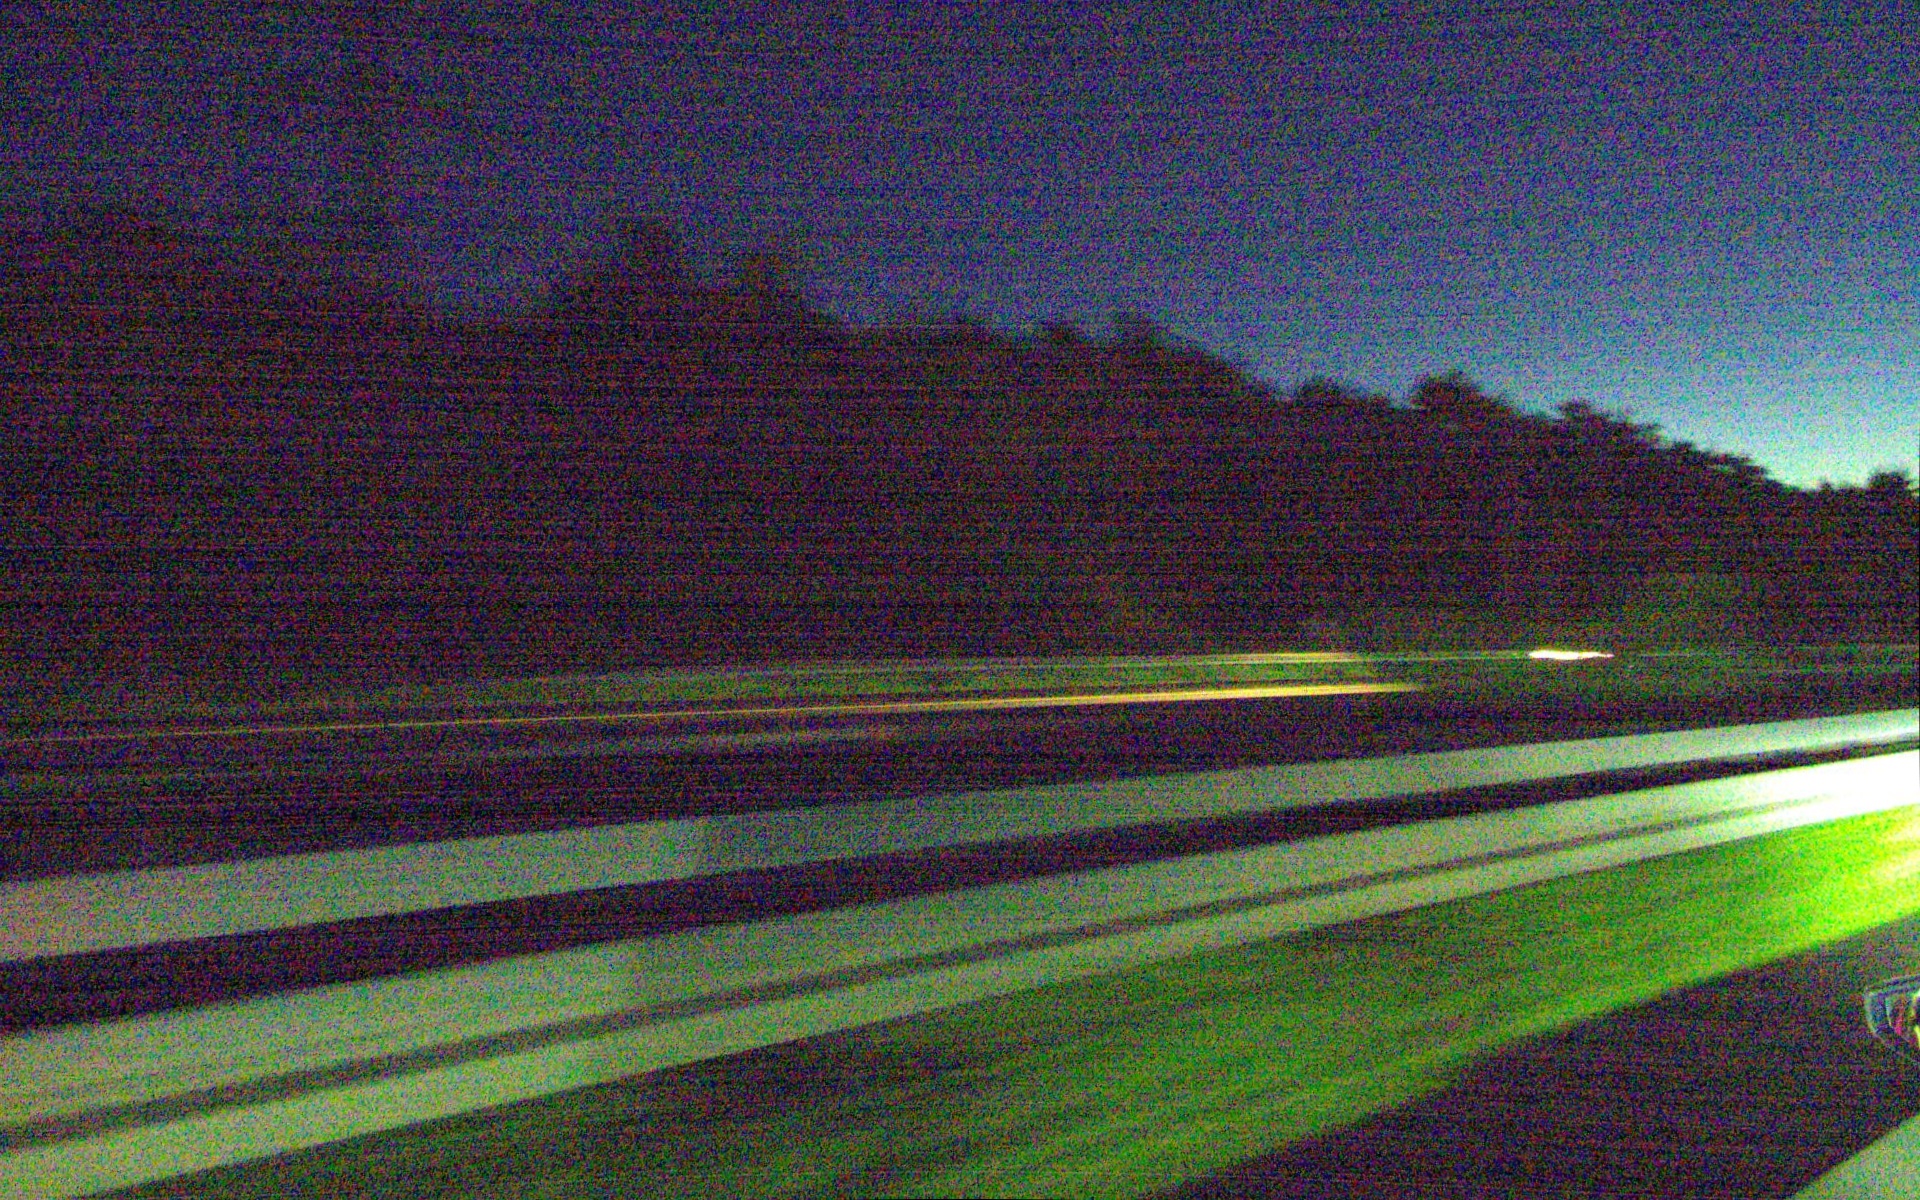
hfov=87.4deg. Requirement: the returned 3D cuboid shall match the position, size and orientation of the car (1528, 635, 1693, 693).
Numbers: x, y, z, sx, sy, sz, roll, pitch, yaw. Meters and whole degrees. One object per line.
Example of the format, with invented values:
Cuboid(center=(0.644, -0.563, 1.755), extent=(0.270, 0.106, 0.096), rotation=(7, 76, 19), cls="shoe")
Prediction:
Cuboid(center=(18.960, 1.842, 29.240), extent=(4.946, 1.571, 1.985), rotation=(1, -4, -30), cls="car")
